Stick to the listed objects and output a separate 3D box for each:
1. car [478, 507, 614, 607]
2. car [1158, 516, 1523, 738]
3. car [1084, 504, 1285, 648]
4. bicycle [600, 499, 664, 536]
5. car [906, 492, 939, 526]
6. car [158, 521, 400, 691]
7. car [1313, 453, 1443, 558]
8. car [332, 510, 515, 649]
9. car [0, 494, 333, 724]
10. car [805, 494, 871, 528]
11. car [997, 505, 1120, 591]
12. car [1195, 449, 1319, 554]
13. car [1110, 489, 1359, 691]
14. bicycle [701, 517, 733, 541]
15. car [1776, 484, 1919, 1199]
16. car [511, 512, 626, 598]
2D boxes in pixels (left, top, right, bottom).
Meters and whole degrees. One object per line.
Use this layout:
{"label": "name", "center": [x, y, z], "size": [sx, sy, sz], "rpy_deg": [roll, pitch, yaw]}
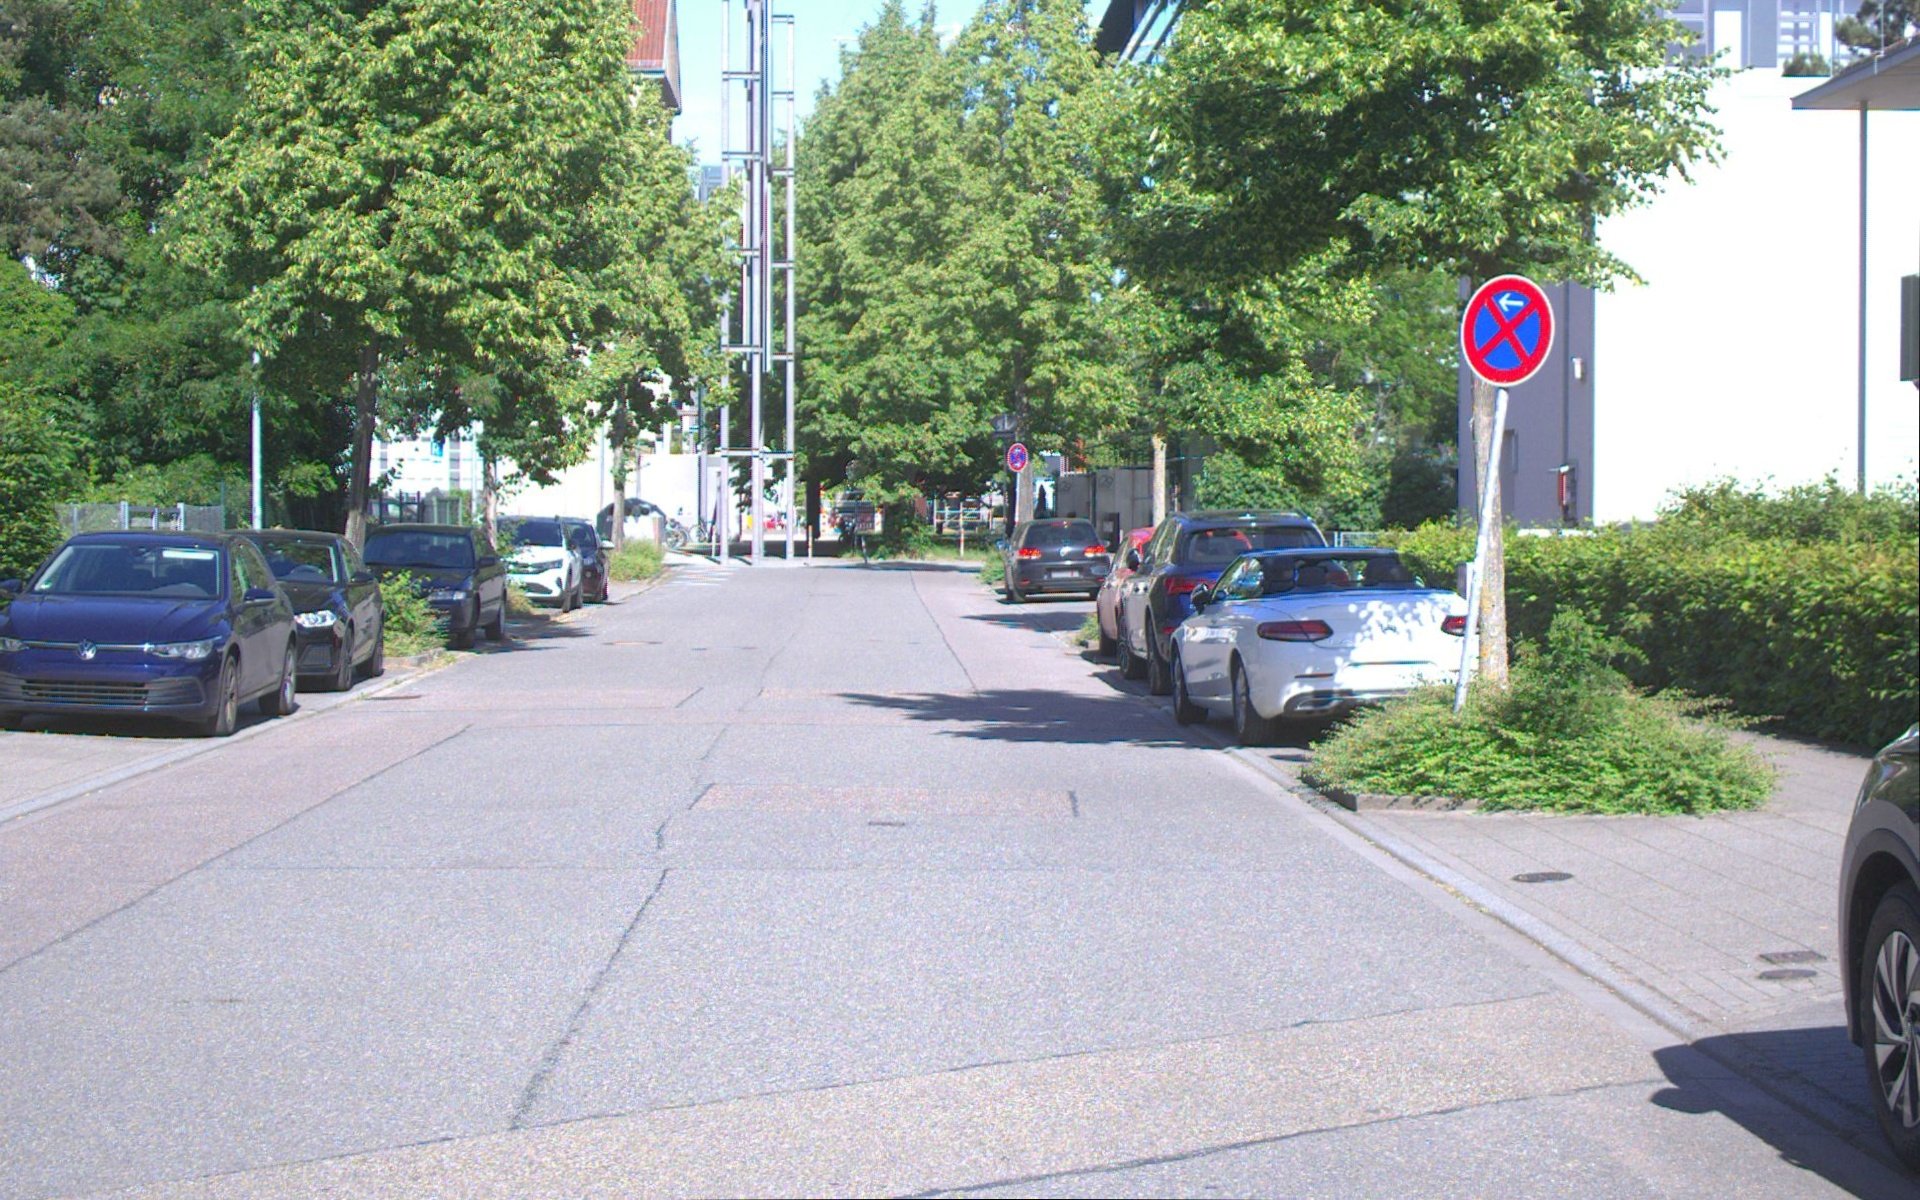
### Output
{"label": "car", "center": [-6.564, -0.705, 54.820], "size": [1.777, 1.525, 4.000], "rpy_deg": [0, 1, -1]}
{"label": "car", "center": [2.681, 0.155, 25.205], "size": [1.829, 1.417, 4.234], "rpy_deg": [-2, 1, -5]}
{"label": "car", "center": [2.447, -0.280, 38.323], "size": [1.834, 1.510, 3.881], "rpy_deg": [0, 1, -2]}
{"label": "bicycle", "center": [-7.596, -1.907, 79.611], "size": [1.467, 0.839, 0.336], "rpy_deg": [0, 2, -5]}
{"label": "car", "center": [-2.312, -5.628, 212.015], "size": [1.993, 2.006, 4.001], "rpy_deg": [0, 2, -1]}
{"label": "car", "center": [-6.311, 0.021, 32.184], "size": [1.630, 1.496, 3.578], "rpy_deg": [0, 1, -1]}
{"label": "car", "center": [8.265, -1.864, 68.301], "size": [1.993, 2.007, 4.000], "rpy_deg": [0, 1, -1]}
{"label": "car", "center": [-6.456, -0.273, 41.700], "size": [1.694, 1.599, 3.942], "rpy_deg": [0, 1, -1]}
{"label": "car", "center": [-6.048, 0.025, 25.813], "size": [1.762, 1.522, 4.000], "rpy_deg": [3, 1, 2]}
{"label": "car", "center": [-7.477, -5.445, 210.580], "size": [3.987, 2.006, 2.000], "rpy_deg": [0, 2, 0]}
{"label": "car", "center": [1.734, -0.949, 61.668], "size": [1.993, 1.481, 4.000], "rpy_deg": [0, 1, -1]}
{"label": "car", "center": [5.862, -1.941, 68.266], "size": [2.024, 2.007, 4.000], "rpy_deg": [0, 1, -1]}
{"label": "car", "center": [2.509, -0.130, 32.375], "size": [1.821, 1.713, 4.120], "rpy_deg": [-2, 1, -2]}
{"label": "bicycle", "center": [-7.037, -2.049, 99.593], "size": [0.373, 0.681, 1.080], "rpy_deg": [-1, 3, -38]}
{"label": "car", "center": [3.076, 0.560, 6.755], "size": [1.725, 1.646, 4.327], "rpy_deg": [-2, 1, -2]}
{"label": "car", "center": [-6.848, -0.808, 60.423], "size": [1.700, 1.465, 3.461], "rpy_deg": [0, 1, -1]}
